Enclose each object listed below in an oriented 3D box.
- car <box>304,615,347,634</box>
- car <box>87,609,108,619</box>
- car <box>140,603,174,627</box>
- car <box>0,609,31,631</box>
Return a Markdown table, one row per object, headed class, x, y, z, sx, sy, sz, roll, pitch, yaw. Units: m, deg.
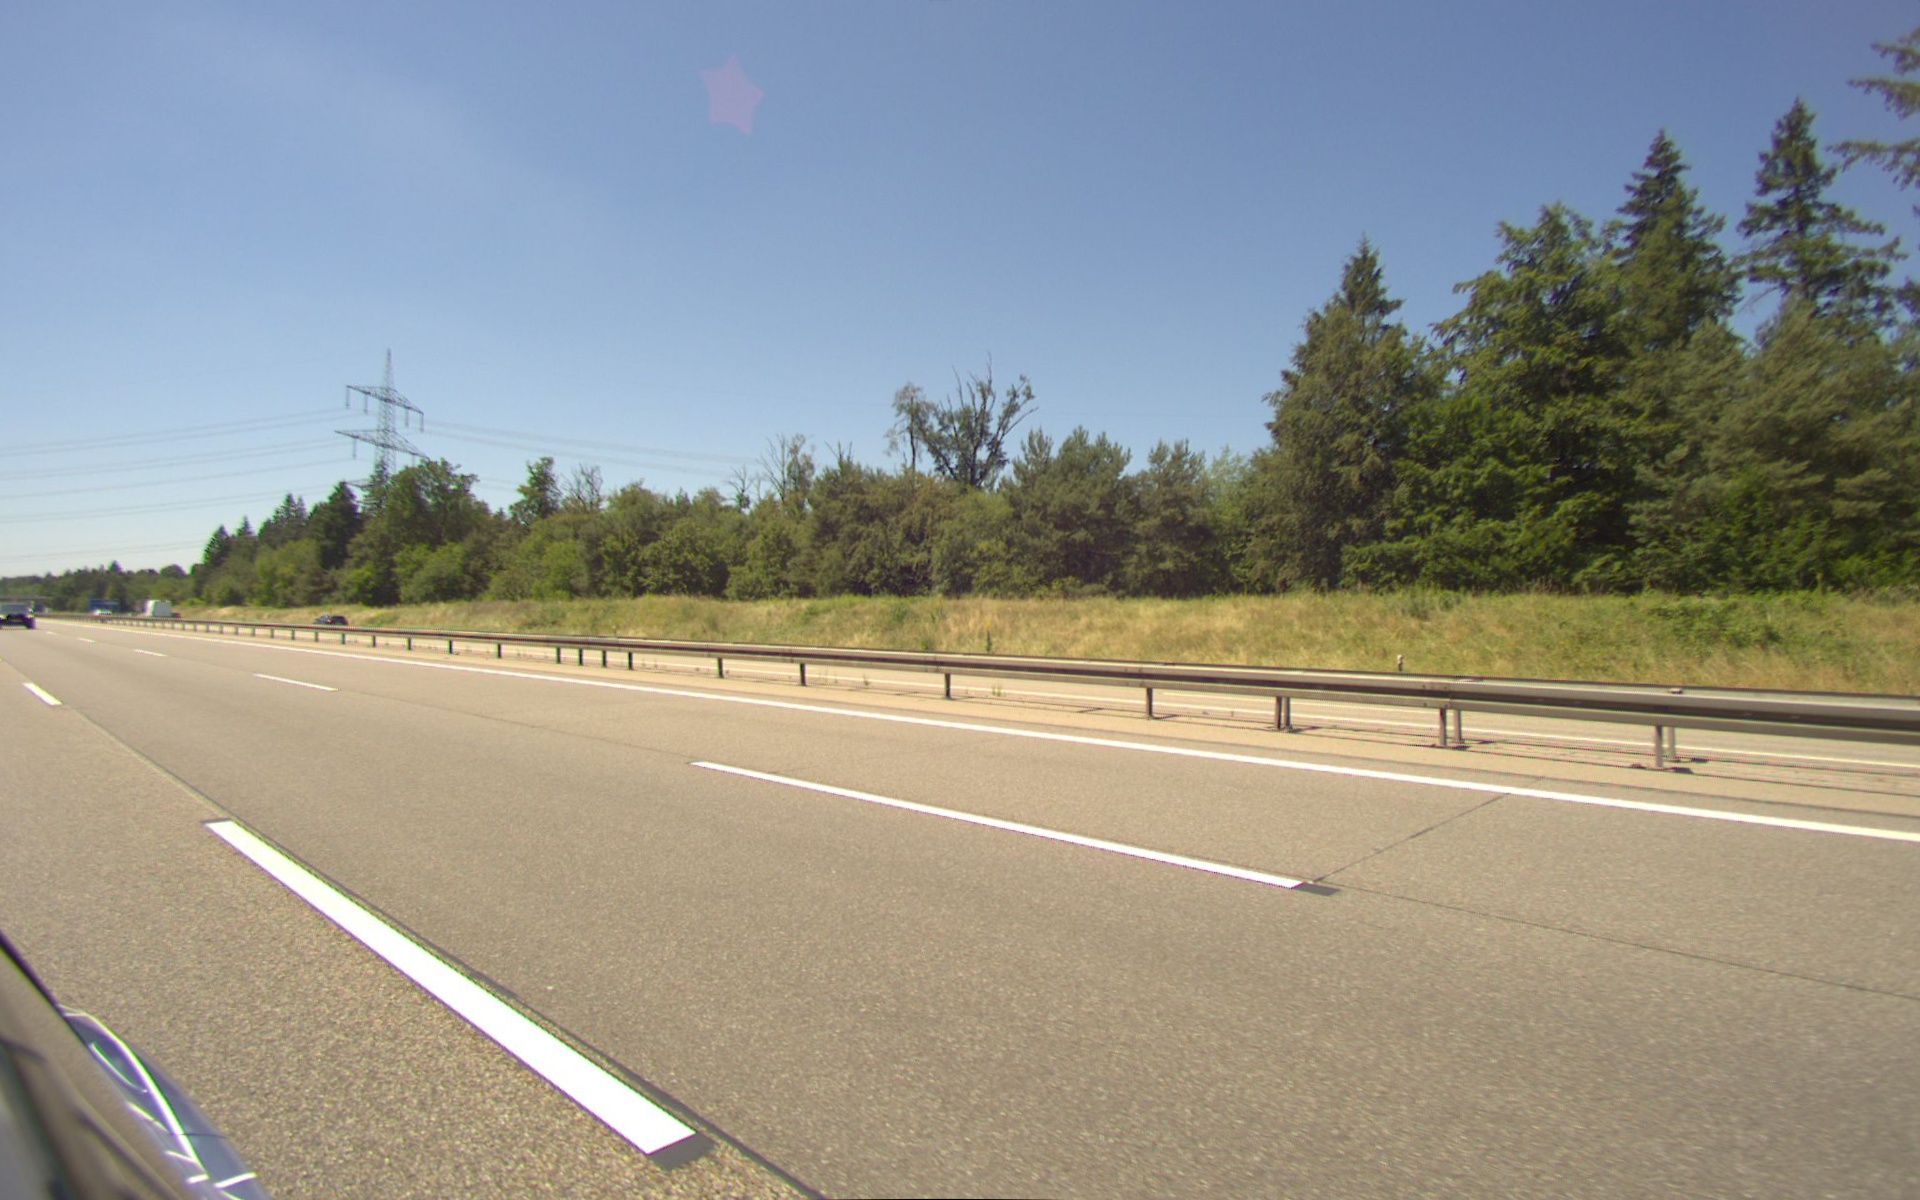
| class | x | y | z | sx | sy | sz | roll | pitch | yaw |
| --- | --- | --- | --- | --- | --- | --- | --- | --- | --- |
| car | -54.351 | 2.090 | 86.668 | 4.742 | 1.521 | 1.807 | 0 | -2 | 42 |
| car | -119.081 | 1.927 | 139.645 | 4.676 | 1.402 | 1.672 | -1 | -4 | 44 |
| car | -99.983 | 1.879 | 125.971 | 6.874 | 2.731 | 2.317 | -1 | -4 | 44 |
| car | -63.341 | 1.334 | 67.538 | 1.872 | 1.436 | 4.265 | 0 | 0 | -44 |
